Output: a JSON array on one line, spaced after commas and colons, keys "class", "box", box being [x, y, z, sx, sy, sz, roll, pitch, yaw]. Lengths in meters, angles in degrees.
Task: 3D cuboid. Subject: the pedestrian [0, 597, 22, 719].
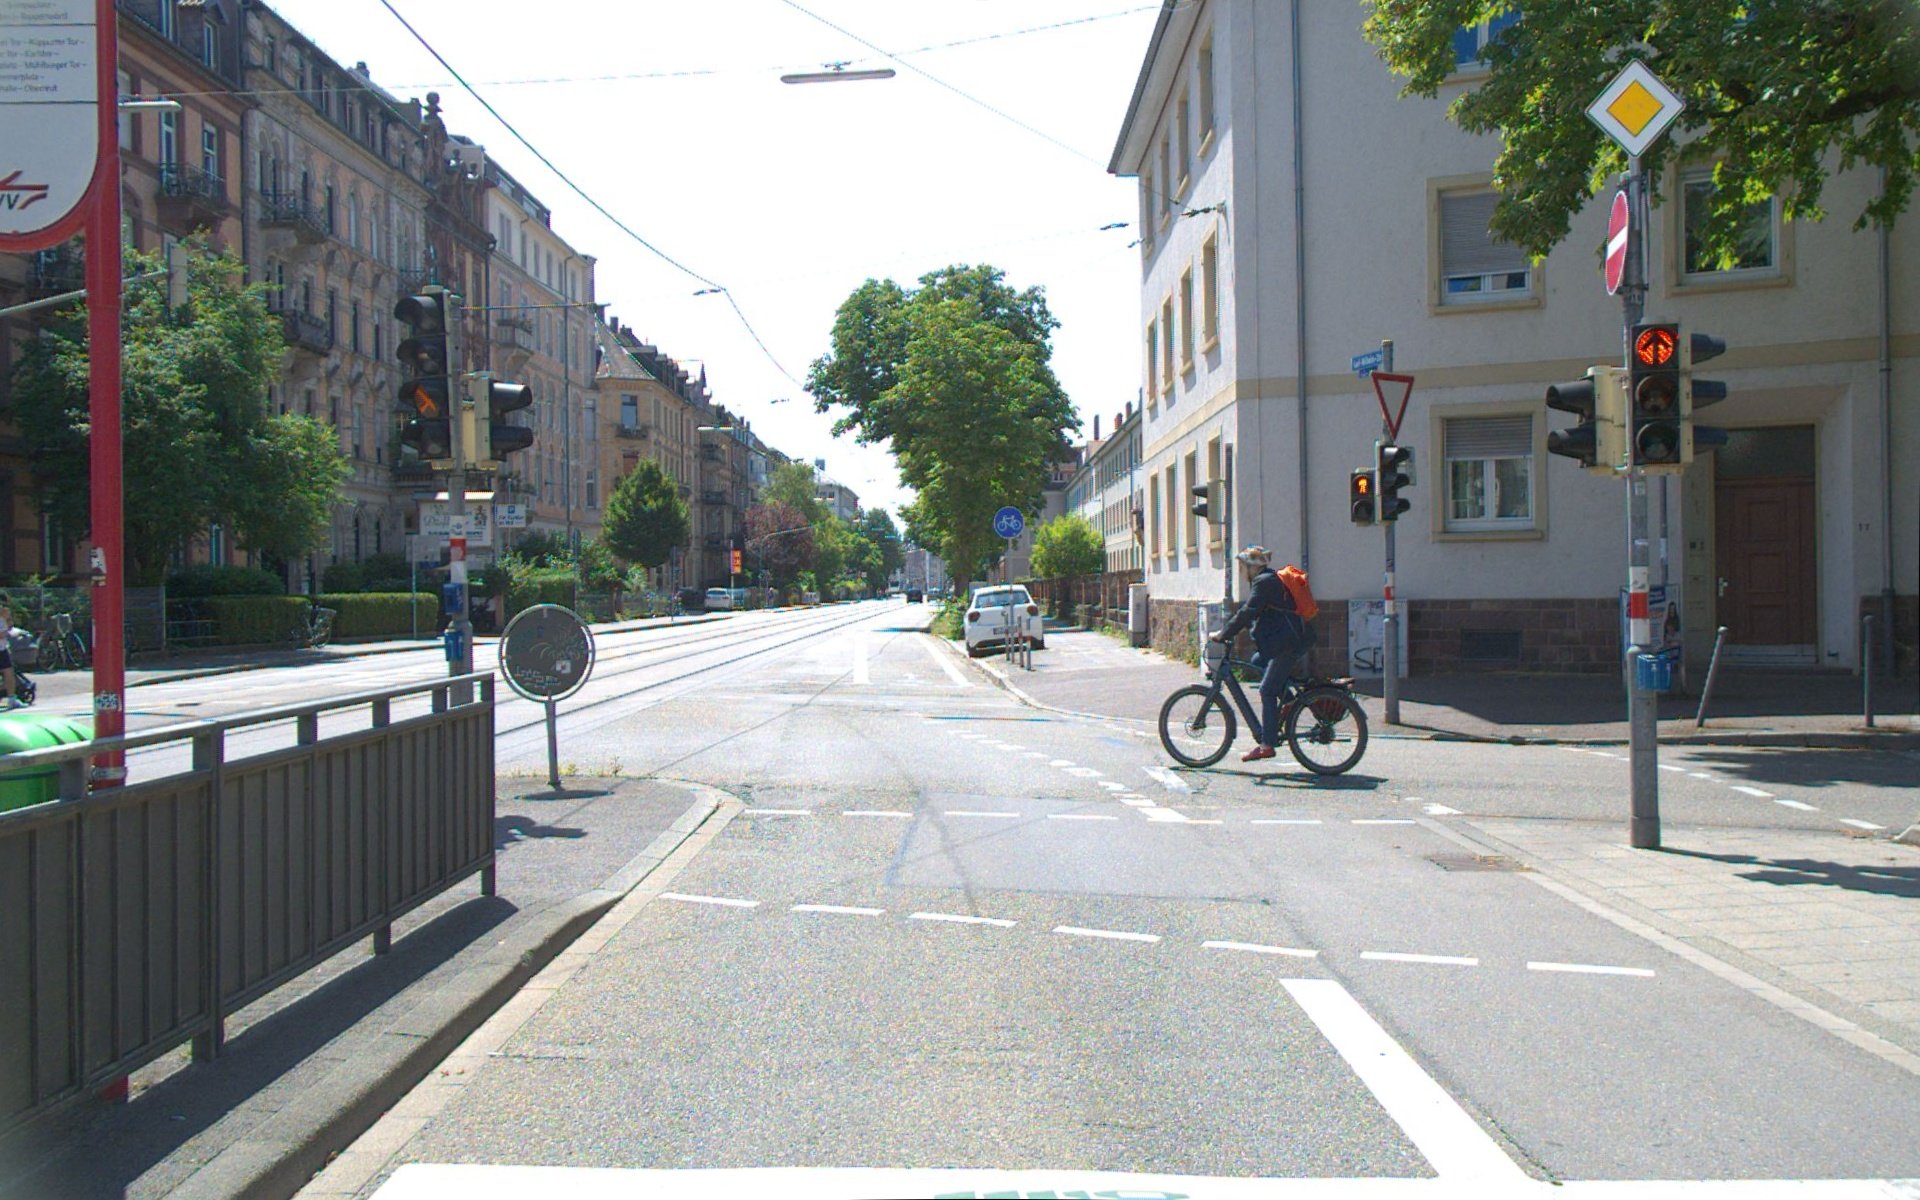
[{"class": "pedestrian", "box": [-13.357, 0.796, 22.785, 0.648, 1.643, 0.462, 0, 2, -43]}]

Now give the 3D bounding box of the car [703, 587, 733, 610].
[{"class": "car", "box": [-16.858, -0.103, 115.377, 1.651, 1.498, 3.936, -4, 0, -3]}]

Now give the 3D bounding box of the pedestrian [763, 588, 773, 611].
[{"class": "pedestrian", "box": [-14.512, -0.052, 125.076, 0.664, 1.758, 0.677, 0, 0, -1]}]

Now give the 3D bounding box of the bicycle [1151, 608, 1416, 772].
[{"class": "bicycle", "box": [2.617, 0.697, 13.451, 2.039, 1.258, 0.580, 0, 0, 24]}]

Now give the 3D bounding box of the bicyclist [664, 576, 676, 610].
[{"class": "bicyclist", "box": [-15.372, -0.357, 87.634, 0.531, 1.794, 0.498, 0, 0, -1]}]

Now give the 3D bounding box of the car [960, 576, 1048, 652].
[{"class": "car", "box": [0.939, 0.307, 37.198, 1.712, 1.498, 3.937, -4, 0, -1]}]

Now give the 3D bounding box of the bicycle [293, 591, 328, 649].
[{"class": "bicycle", "box": [-15.919, 0.477, 40.537, 0.584, 1.380, 2.419, 0, 0, -27]}]

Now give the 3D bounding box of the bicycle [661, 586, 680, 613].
[{"class": "bicycle", "box": [-15.350, -0.009, 87.735, 0.565, 1.412, 2.500, 0, 0, -1]}]

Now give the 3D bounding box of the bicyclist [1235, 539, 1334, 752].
[{"class": "bicyclist", "box": [2.636, 0.361, 13.427, 0.679, 1.675, 0.580, 0, 0, 24]}]

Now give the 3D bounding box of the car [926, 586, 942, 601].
[{"class": "car", "box": [-2.962, -0.739, 187.786, 1.712, 1.498, 3.937, -4, 0, -1]}]

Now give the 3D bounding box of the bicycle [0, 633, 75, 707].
[{"class": "bicycle", "box": [-13.599, 1.001, 23.881, 1.390, 1.031, 0.383, 0, 0, -41]}]

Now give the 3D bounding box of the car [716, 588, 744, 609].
[{"class": "car", "box": [-17.166, -0.103, 123.559, 1.596, 1.498, 3.562, -4, 0, -3]}]

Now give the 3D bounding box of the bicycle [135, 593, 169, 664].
[{"class": "bicycle", "box": [-16.694, 0.578, 34.170, 0.607, 1.420, 2.288, 0, 0, -27]}]

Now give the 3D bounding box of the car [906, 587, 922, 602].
[{"class": "car", "box": [-4.671, -0.560, 168.325, 1.494, 1.469, 3.364, -2, 0, 0]}]
